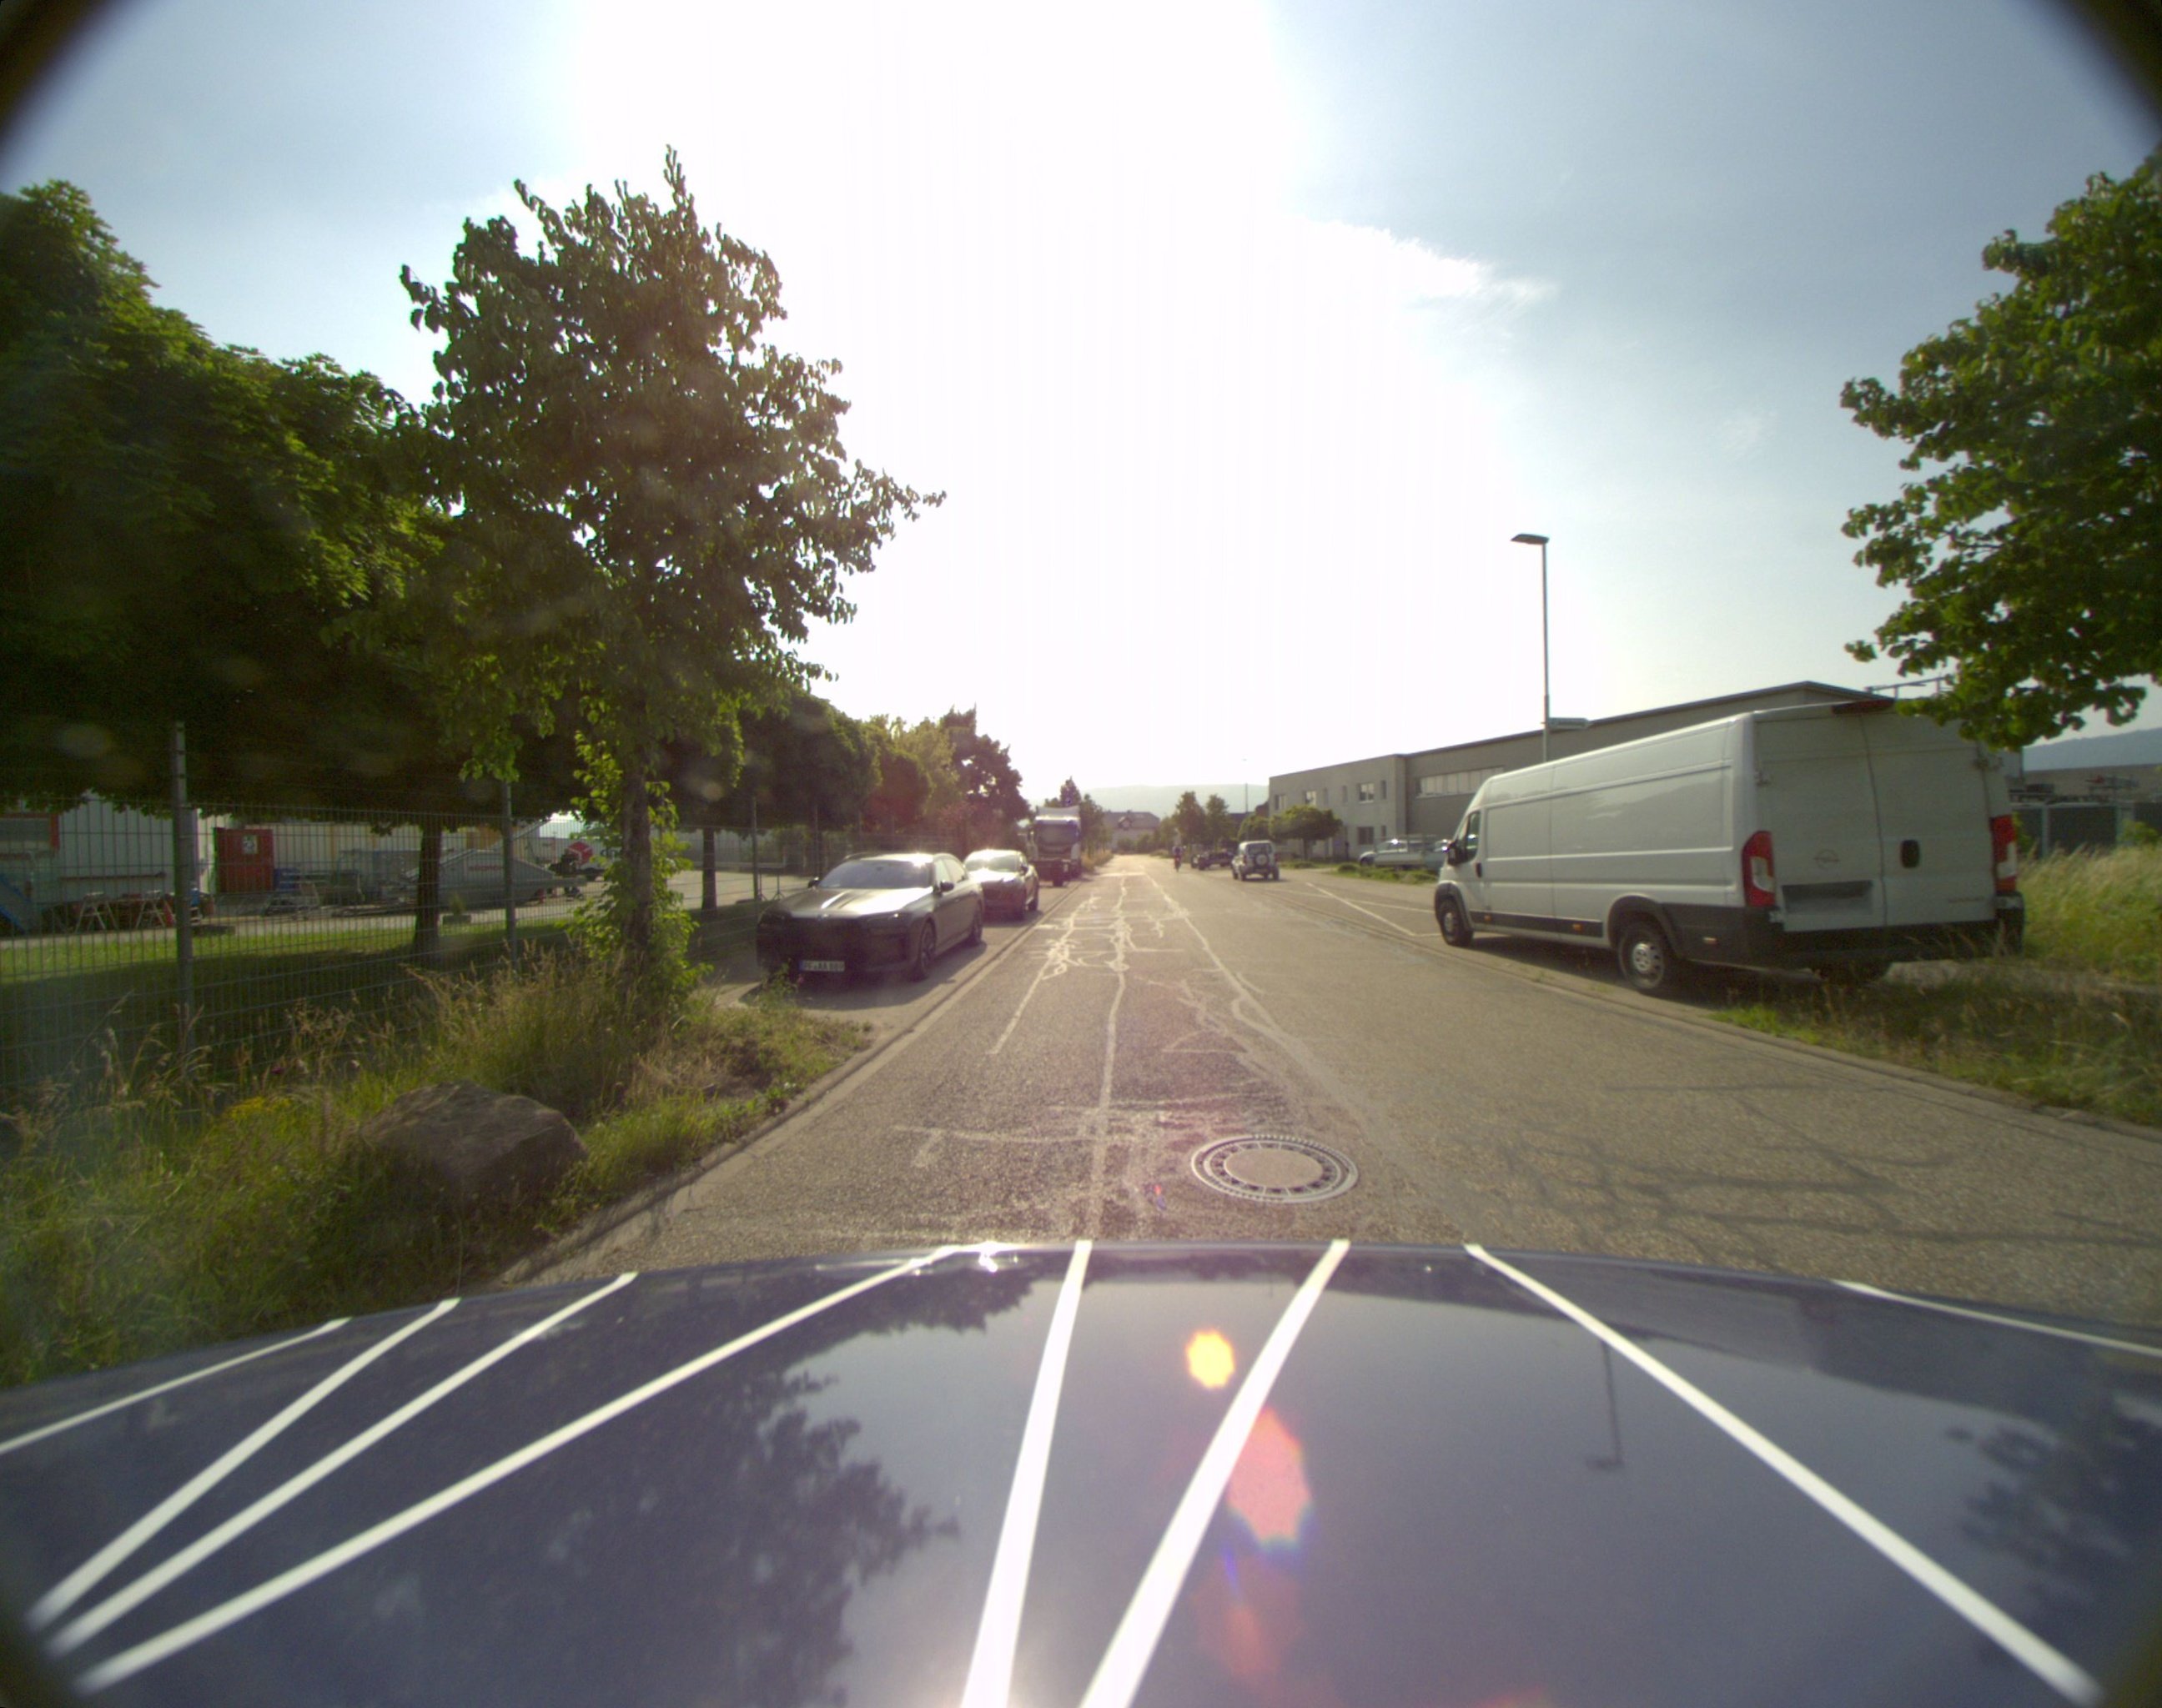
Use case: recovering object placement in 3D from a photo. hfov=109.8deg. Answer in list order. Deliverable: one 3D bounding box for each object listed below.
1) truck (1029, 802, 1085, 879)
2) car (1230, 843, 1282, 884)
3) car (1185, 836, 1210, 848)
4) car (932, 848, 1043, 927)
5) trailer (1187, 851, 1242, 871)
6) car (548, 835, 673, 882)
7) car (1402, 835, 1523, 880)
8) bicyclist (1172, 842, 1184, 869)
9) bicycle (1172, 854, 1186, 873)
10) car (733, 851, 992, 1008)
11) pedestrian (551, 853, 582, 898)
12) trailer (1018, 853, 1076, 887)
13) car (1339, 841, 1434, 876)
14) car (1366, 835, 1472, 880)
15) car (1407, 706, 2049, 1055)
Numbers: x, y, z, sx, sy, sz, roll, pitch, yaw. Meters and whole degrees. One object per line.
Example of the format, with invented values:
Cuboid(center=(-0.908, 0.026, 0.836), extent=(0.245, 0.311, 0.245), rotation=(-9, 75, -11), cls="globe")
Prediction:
Cuboid(center=(-1.217, -0.722, 42.282), extent=(2.698, 3.942, 6.047), rotation=(1, 1, 1), cls="truck")
Cuboid(center=(7.651, 0.388, 33.483), extent=(1.601, 1.641, 3.644), rotation=(-3, 1, 3), cls="car")
Cuboid(center=(19.082, -1.982, 124.560), extent=(3.996, 1.718, 2.000), rotation=(-2, 1, 4), cls="car")
Cuboid(center=(-2.074, 0.684, 18.021), extent=(1.885, 1.565, 4.113), rotation=(1, 2, 3), cls="car")
Cuboid(center=(9.082, 0.401, 52.693), extent=(2.552, 1.068, 9.732), rotation=(-3, 0, 3), cls="trailer")
Cuboid(center=(-28.877, 0.192, 46.789), extent=(6.285, 2.634, 2.206), rotation=(-2, 1, -38), cls="car")
Cuboid(center=(15.403, 0.111, 30.992), extent=(1.996, 1.649, 4.416), rotation=(-2, 1, -14), cls="car")
Cuboid(center=(6.088, 0.080, 47.631), extent=(0.641, 1.709, 1.165), rotation=(-1, 1, 4), cls="bicyclist")
Cuboid(center=(6.105, 0.591, 47.399), extent=(0.717, 1.116, 2.219), rotation=(1, 1, 4), cls="bicycle")
Cuboid(center=(-2.662, 0.803, 10.768), extent=(1.885, 1.565, 5.118), rotation=(0, 2, 4), cls="car")
Cuboid(center=(-19.788, 0.816, 29.249), extent=(0.860, 1.712, 0.630), rotation=(-2, 1, -28), cls="pedestrian")
Cuboid(center=(-1.390, 0.636, 33.923), extent=(1.943, 1.228, 7.451), rotation=(0, 1, 2), cls="trailer")
Cuboid(center=(14.435, 0.195, 36.187), extent=(1.983, 1.468, 4.416), rotation=(-2, 1, -14), cls="car")
Cuboid(center=(13.235, 0.106, 30.036), extent=(1.840, 1.563, 3.811), rotation=(-4, 1, -13), cls="car")
Cuboid(center=(6.353, 0.163, 9.062), extent=(2.107, 2.580, 6.502), rotation=(-3, 1, 1), cls="car")
